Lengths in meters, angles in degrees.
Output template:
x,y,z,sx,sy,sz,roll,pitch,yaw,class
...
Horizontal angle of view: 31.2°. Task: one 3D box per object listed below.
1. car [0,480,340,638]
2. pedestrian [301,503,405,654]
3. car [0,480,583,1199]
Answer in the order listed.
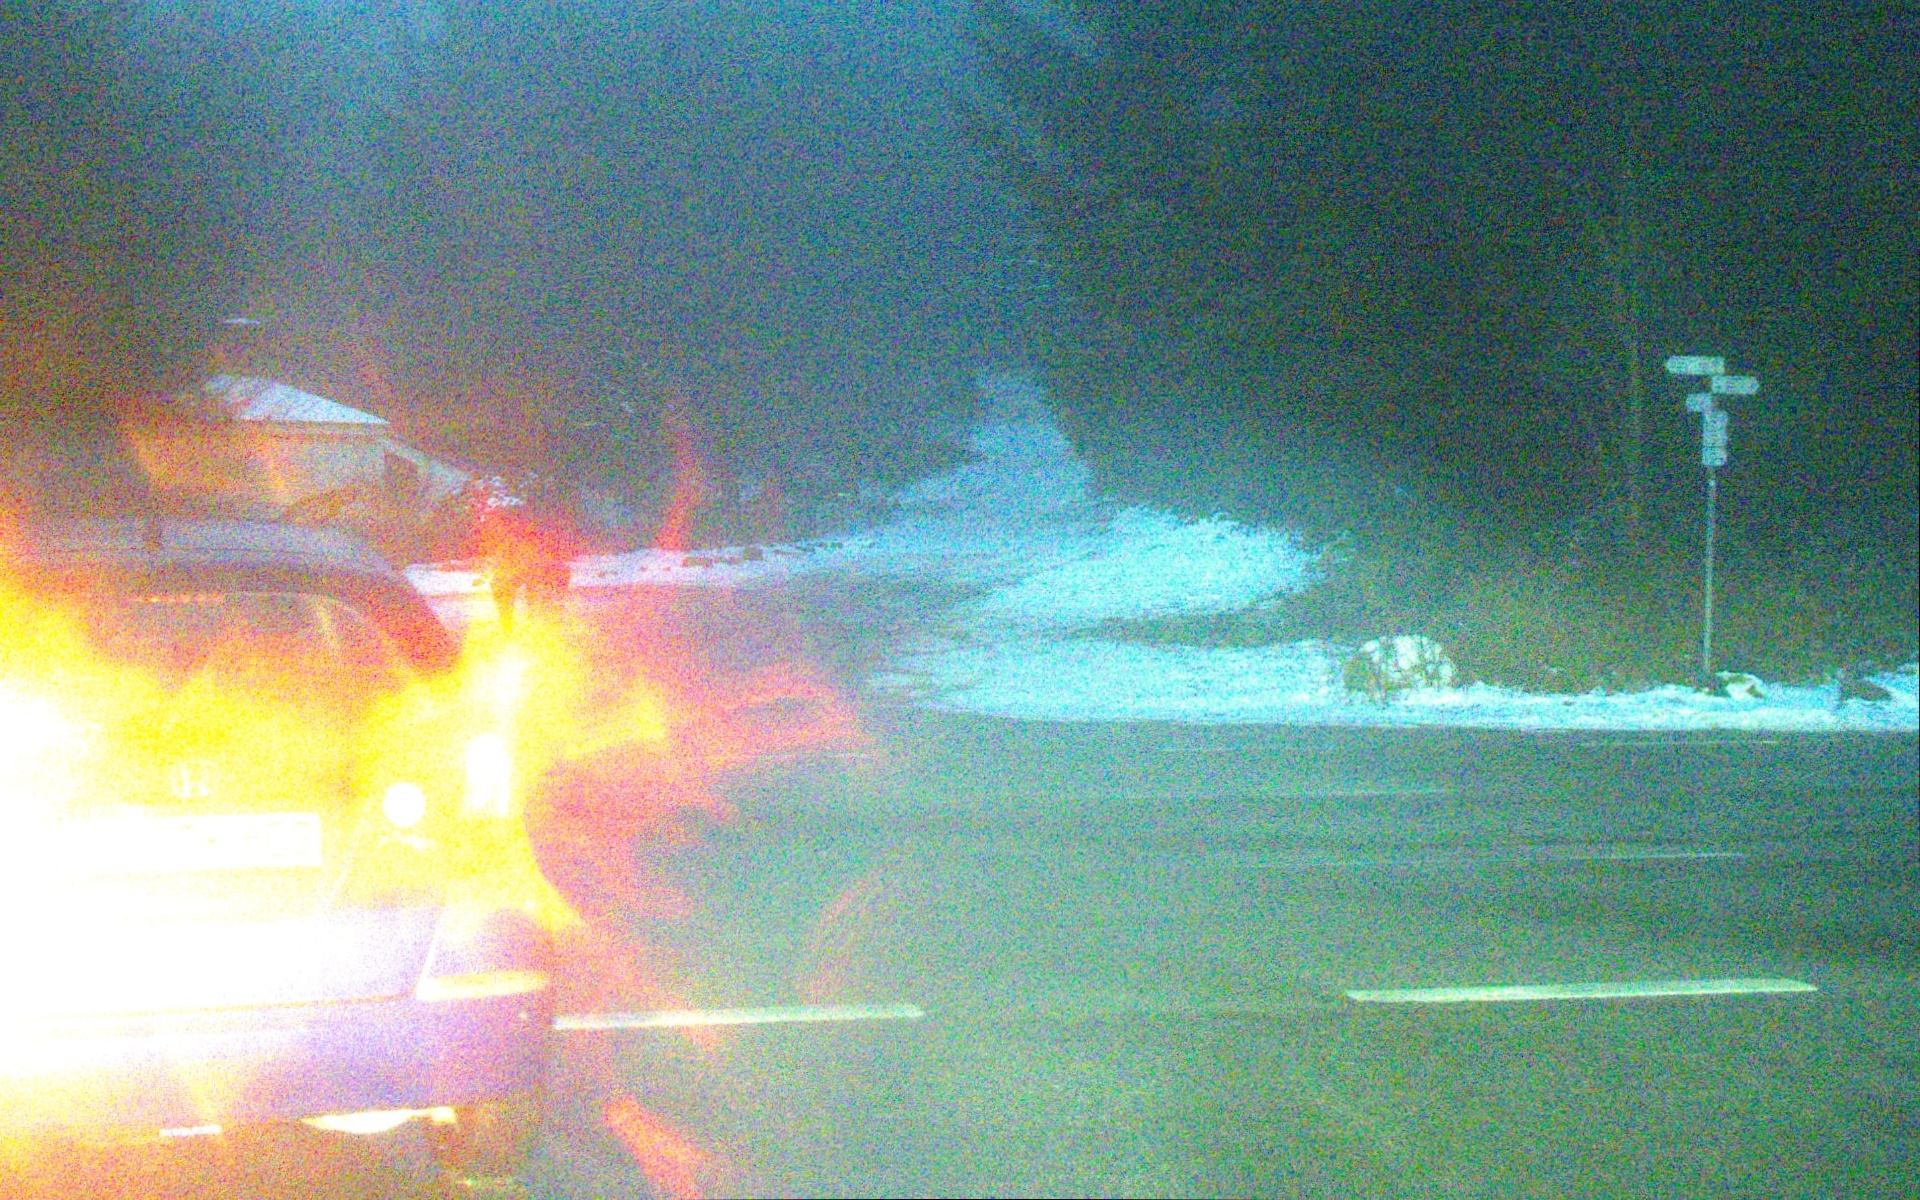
x,y,z,sx,sy,sz,roll,pitch,yaw,class
-9.949,-0.510,42.811,3.948,1.875,1.999,1,0,8,car
-7.440,-0.269,42.171,0.961,1.821,0.924,1,0,12,pedestrian
-2.260,0.500,8.542,1.692,1.547,3.857,0,1,-21,car
